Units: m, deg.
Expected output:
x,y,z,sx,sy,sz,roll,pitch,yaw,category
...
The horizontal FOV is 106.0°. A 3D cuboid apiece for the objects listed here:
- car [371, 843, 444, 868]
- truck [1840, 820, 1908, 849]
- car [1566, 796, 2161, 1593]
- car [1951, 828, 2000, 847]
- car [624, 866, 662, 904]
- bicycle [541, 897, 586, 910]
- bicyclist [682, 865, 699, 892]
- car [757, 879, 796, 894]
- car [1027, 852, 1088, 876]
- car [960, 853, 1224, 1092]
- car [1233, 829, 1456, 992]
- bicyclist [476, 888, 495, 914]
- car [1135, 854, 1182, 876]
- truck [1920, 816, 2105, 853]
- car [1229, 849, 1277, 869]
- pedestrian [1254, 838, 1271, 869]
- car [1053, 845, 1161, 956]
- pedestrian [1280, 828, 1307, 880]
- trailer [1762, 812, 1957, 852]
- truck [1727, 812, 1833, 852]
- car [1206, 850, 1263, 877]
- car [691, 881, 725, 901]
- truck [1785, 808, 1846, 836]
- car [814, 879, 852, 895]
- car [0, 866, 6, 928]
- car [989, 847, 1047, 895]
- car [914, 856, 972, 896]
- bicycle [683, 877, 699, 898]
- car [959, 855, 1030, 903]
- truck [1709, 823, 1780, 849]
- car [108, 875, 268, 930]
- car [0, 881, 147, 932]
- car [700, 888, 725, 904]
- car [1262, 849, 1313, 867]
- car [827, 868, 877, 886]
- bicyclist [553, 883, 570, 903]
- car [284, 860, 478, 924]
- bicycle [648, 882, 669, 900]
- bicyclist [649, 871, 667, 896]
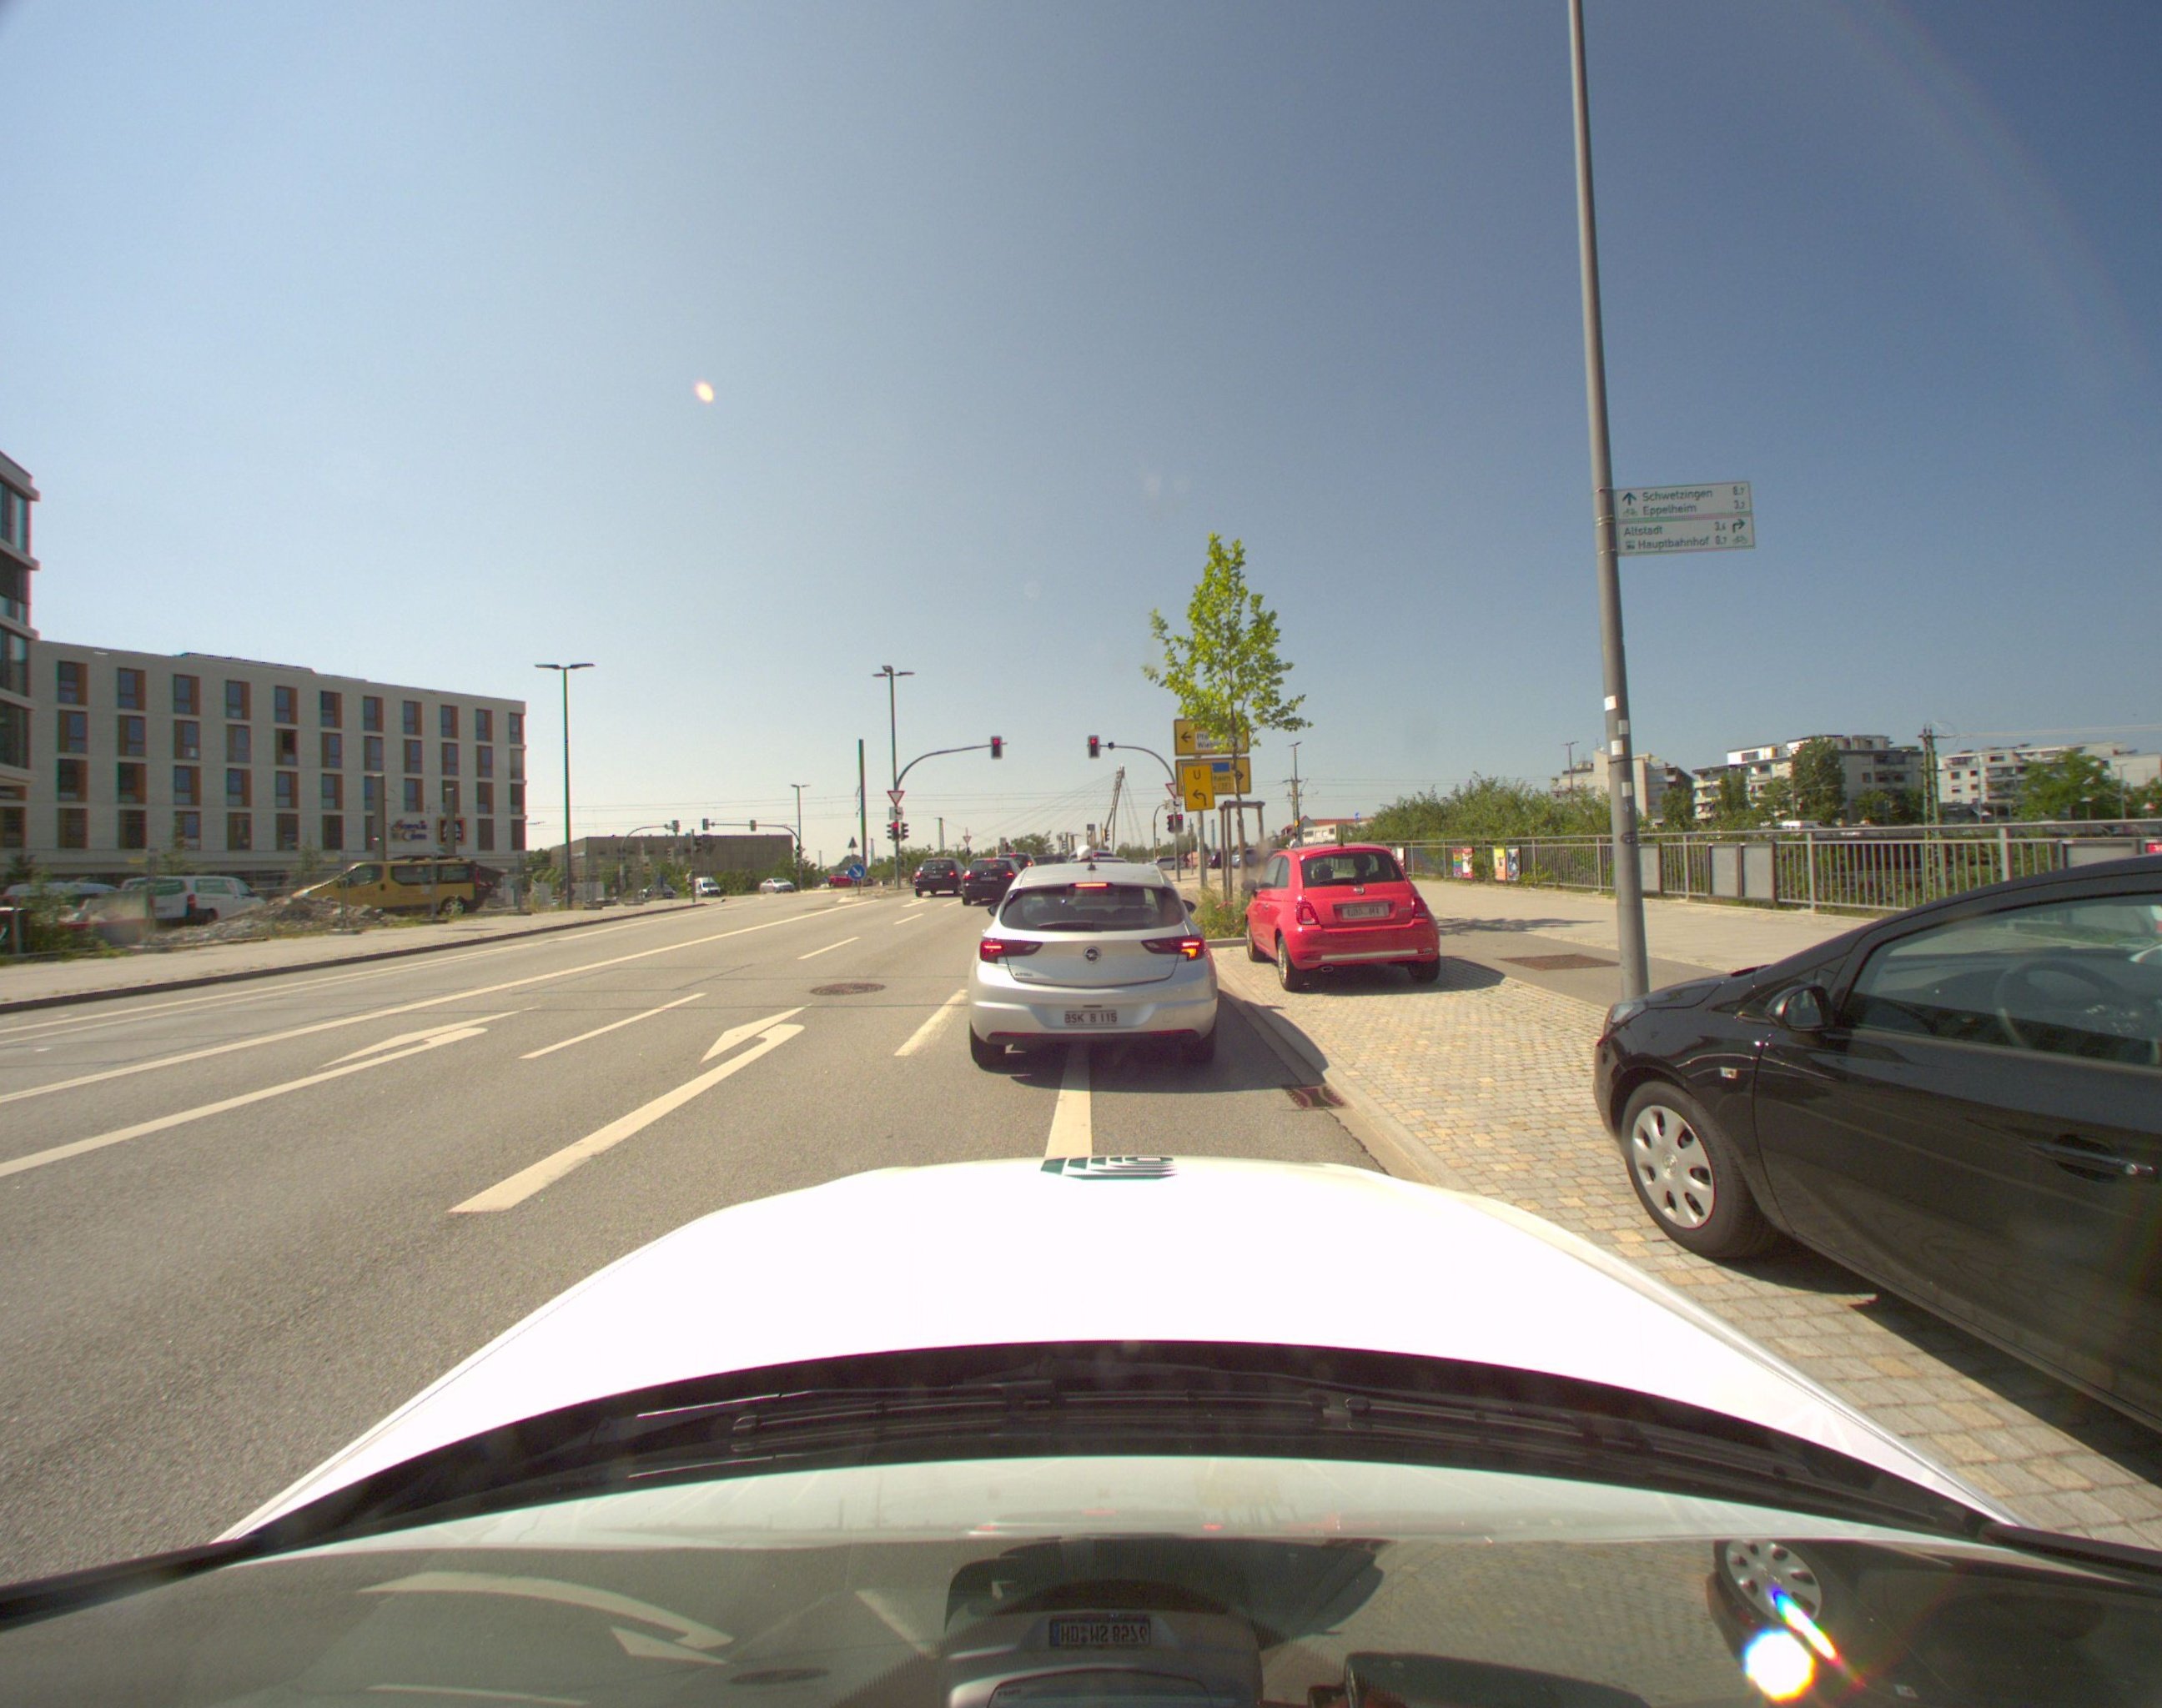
x,y,z,sx,sy,sz,roll,pitch,yaw,category
-54.364,0.149,65.783,3.990,2.014,1.991,0,-1,-12,car
81.670,-2.002,83.840,5.858,2.884,2.109,0,-1,-12,truck
2.890,0.642,1.723,1.576,1.555,3.548,-4,0,1,car
97.132,-1.766,88.404,3.994,2.014,1.990,0,-1,-15,car
-23.970,1.660,44.657,1.679,2.014,3.965,0,-1,-26,car
-31.563,3.038,49.667,2.255,0.692,0.512,-1,-1,-23,bicycle
-22.376,1.402,46.672,0.824,1.569,0.940,0,-1,-28,bicyclist
-28.085,2.986,75.055,3.667,1.333,1.783,-1,-1,39,car
-1.812,0.758,63.506,4.526,1.783,2.003,-1,-1,5,car
0.119,0.780,7.406,1.685,1.520,4.271,-1,0,1,car
2.984,0.591,10.077,1.662,1.540,3.921,-3,-1,4,car
-35.299,2.763,48.274,0.659,1.502,0.838,0,-1,-19,bicyclist
7.331,1.070,77.421,3.992,2.014,1.991,0,-1,-14,car
87.303,-1.778,76.284,17.857,3.204,3.723,0,-1,-14,truck
12.759,0.396,60.551,3.145,1.439,1.580,0,-1,-11,car
11.032,-0.047,49.470,0.746,1.863,0.744,1,-2,-43,pedestrian
0.431,0.733,14.208,1.629,1.674,3.745,0,-1,1,car
7.588,0.022,29.123,0.755,1.830,0.885,0,-1,1,pedestrian
68.082,-1.799,71.170,17.225,3.204,3.723,0,-1,-14,trailer
59.059,-1.801,68.888,6.478,3.204,3.721,0,-1,-14,truck
12.159,0.758,64.642,3.990,2.014,1.992,-1,-1,-12,car
-40.849,4.033,89.084,3.948,2.014,1.619,-1,-1,35,car
69.490,-3.019,77.036,4.700,2.541,1.990,0,-1,-15,truck
-26.527,3.475,87.186,4.155,1.645,1.845,-1,-1,38,car
-36.216,1.410,25.055,2.220,2.056,4.133,0,-1,-28,car
-2.422,0.652,32.090,1.797,1.622,3.917,-4,-1,1,car
-5.222,0.833,31.188,1.581,1.395,3.340,-1,-1,1,car
-22.391,1.906,46.697,0.679,1.127,2.343,0,-1,-29,bicycle
-2.656,0.761,25.827,1.699,1.412,4.001,0,-1,2,car
64.261,-1.741,78.909,5.858,2.367,2.109,0,-1,-12,truck
-31.049,1.631,28.531,2.003,1.707,4.526,0,-1,-23,car
-33.668,1.691,27.240,1.809,1.508,3.965,0,-1,-27,car
-49.934,5.733,110.369,2.011,2.014,3.952,-1,-1,-41,car
19.684,0.396,77.644,4.254,1.673,1.989,-1,-1,-16,car
-19.155,1.943,68.134,3.949,1.455,1.695,-1,-1,29,car
-31.682,2.385,49.647,0.659,1.175,0.725,-4,-1,-22,bicyclist
-22.646,1.155,26.511,1.974,1.890,4.514,-1,-1,40,car
-27.248,2.395,52.518,0.732,1.134,2.503,3,-4,-38,bicycle
-27.243,1.901,52.489,0.867,1.560,0.815,1,-2,-39,bicyclist
